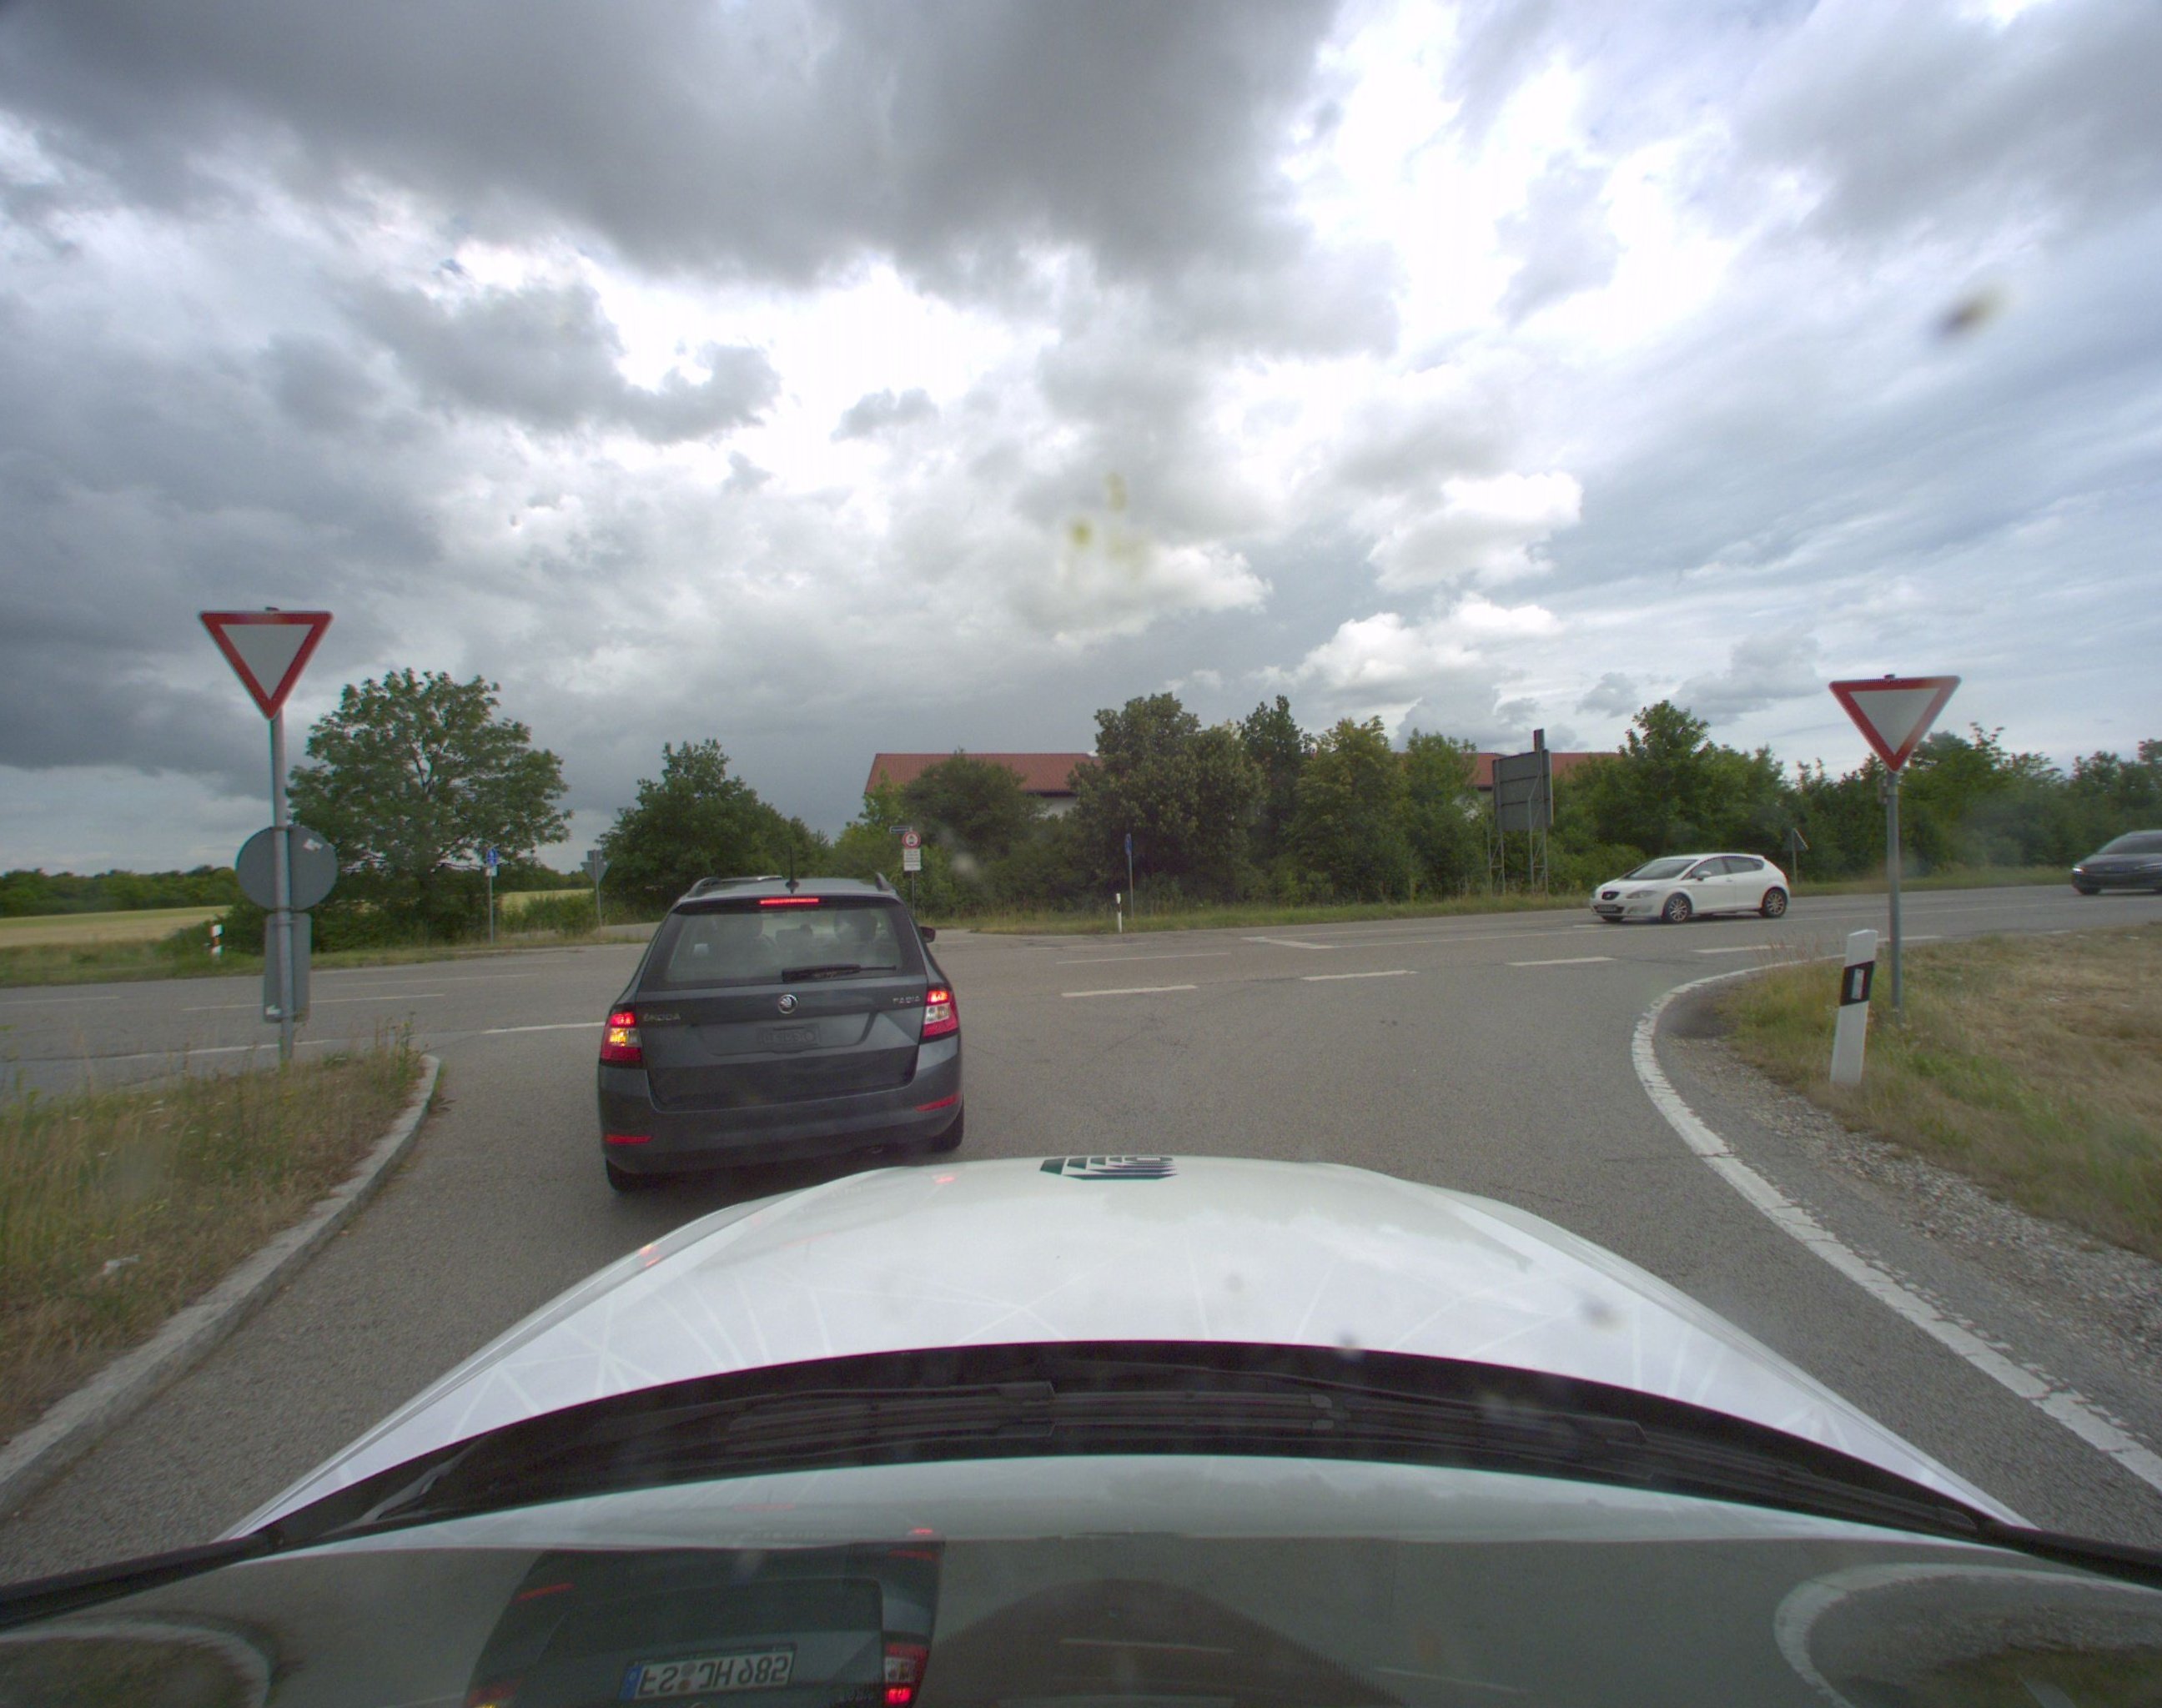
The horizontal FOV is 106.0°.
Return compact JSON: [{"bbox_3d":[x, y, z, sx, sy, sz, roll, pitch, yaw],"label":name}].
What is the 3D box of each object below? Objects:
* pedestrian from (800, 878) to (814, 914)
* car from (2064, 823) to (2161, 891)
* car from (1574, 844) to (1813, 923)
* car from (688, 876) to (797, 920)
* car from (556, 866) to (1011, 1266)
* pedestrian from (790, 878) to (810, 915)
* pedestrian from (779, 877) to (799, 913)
[{"bbox_3d":[-13.669,2.111,40.642,0.489,1.746,0.641,-2,-1,-8],"label":"pedestrian"},{"bbox_3d":[28.374,0.027,21.190,4.280,1.658,1.746,-2,-2,-13],"label":"car"},{"bbox_3d":[13.362,0.630,17.847,4.304,1.408,1.812,-3,-2,-13],"label":"car"},{"bbox_3d":[-16.397,2.135,39.394,5.035,1.886,2.126,-3,0,29],"label":"car"},{"bbox_3d":[-1.750,0.829,5.251,1.718,1.447,4.092,-1,-1,-18],"label":"car"},{"bbox_3d":[-13.451,2.015,39.033,0.723,1.723,0.790,-2,-1,-8],"label":"pedestrian"},{"bbox_3d":[-14.303,2.015,39.959,0.699,1.723,0.732,-2,-1,-4],"label":"pedestrian"}]
